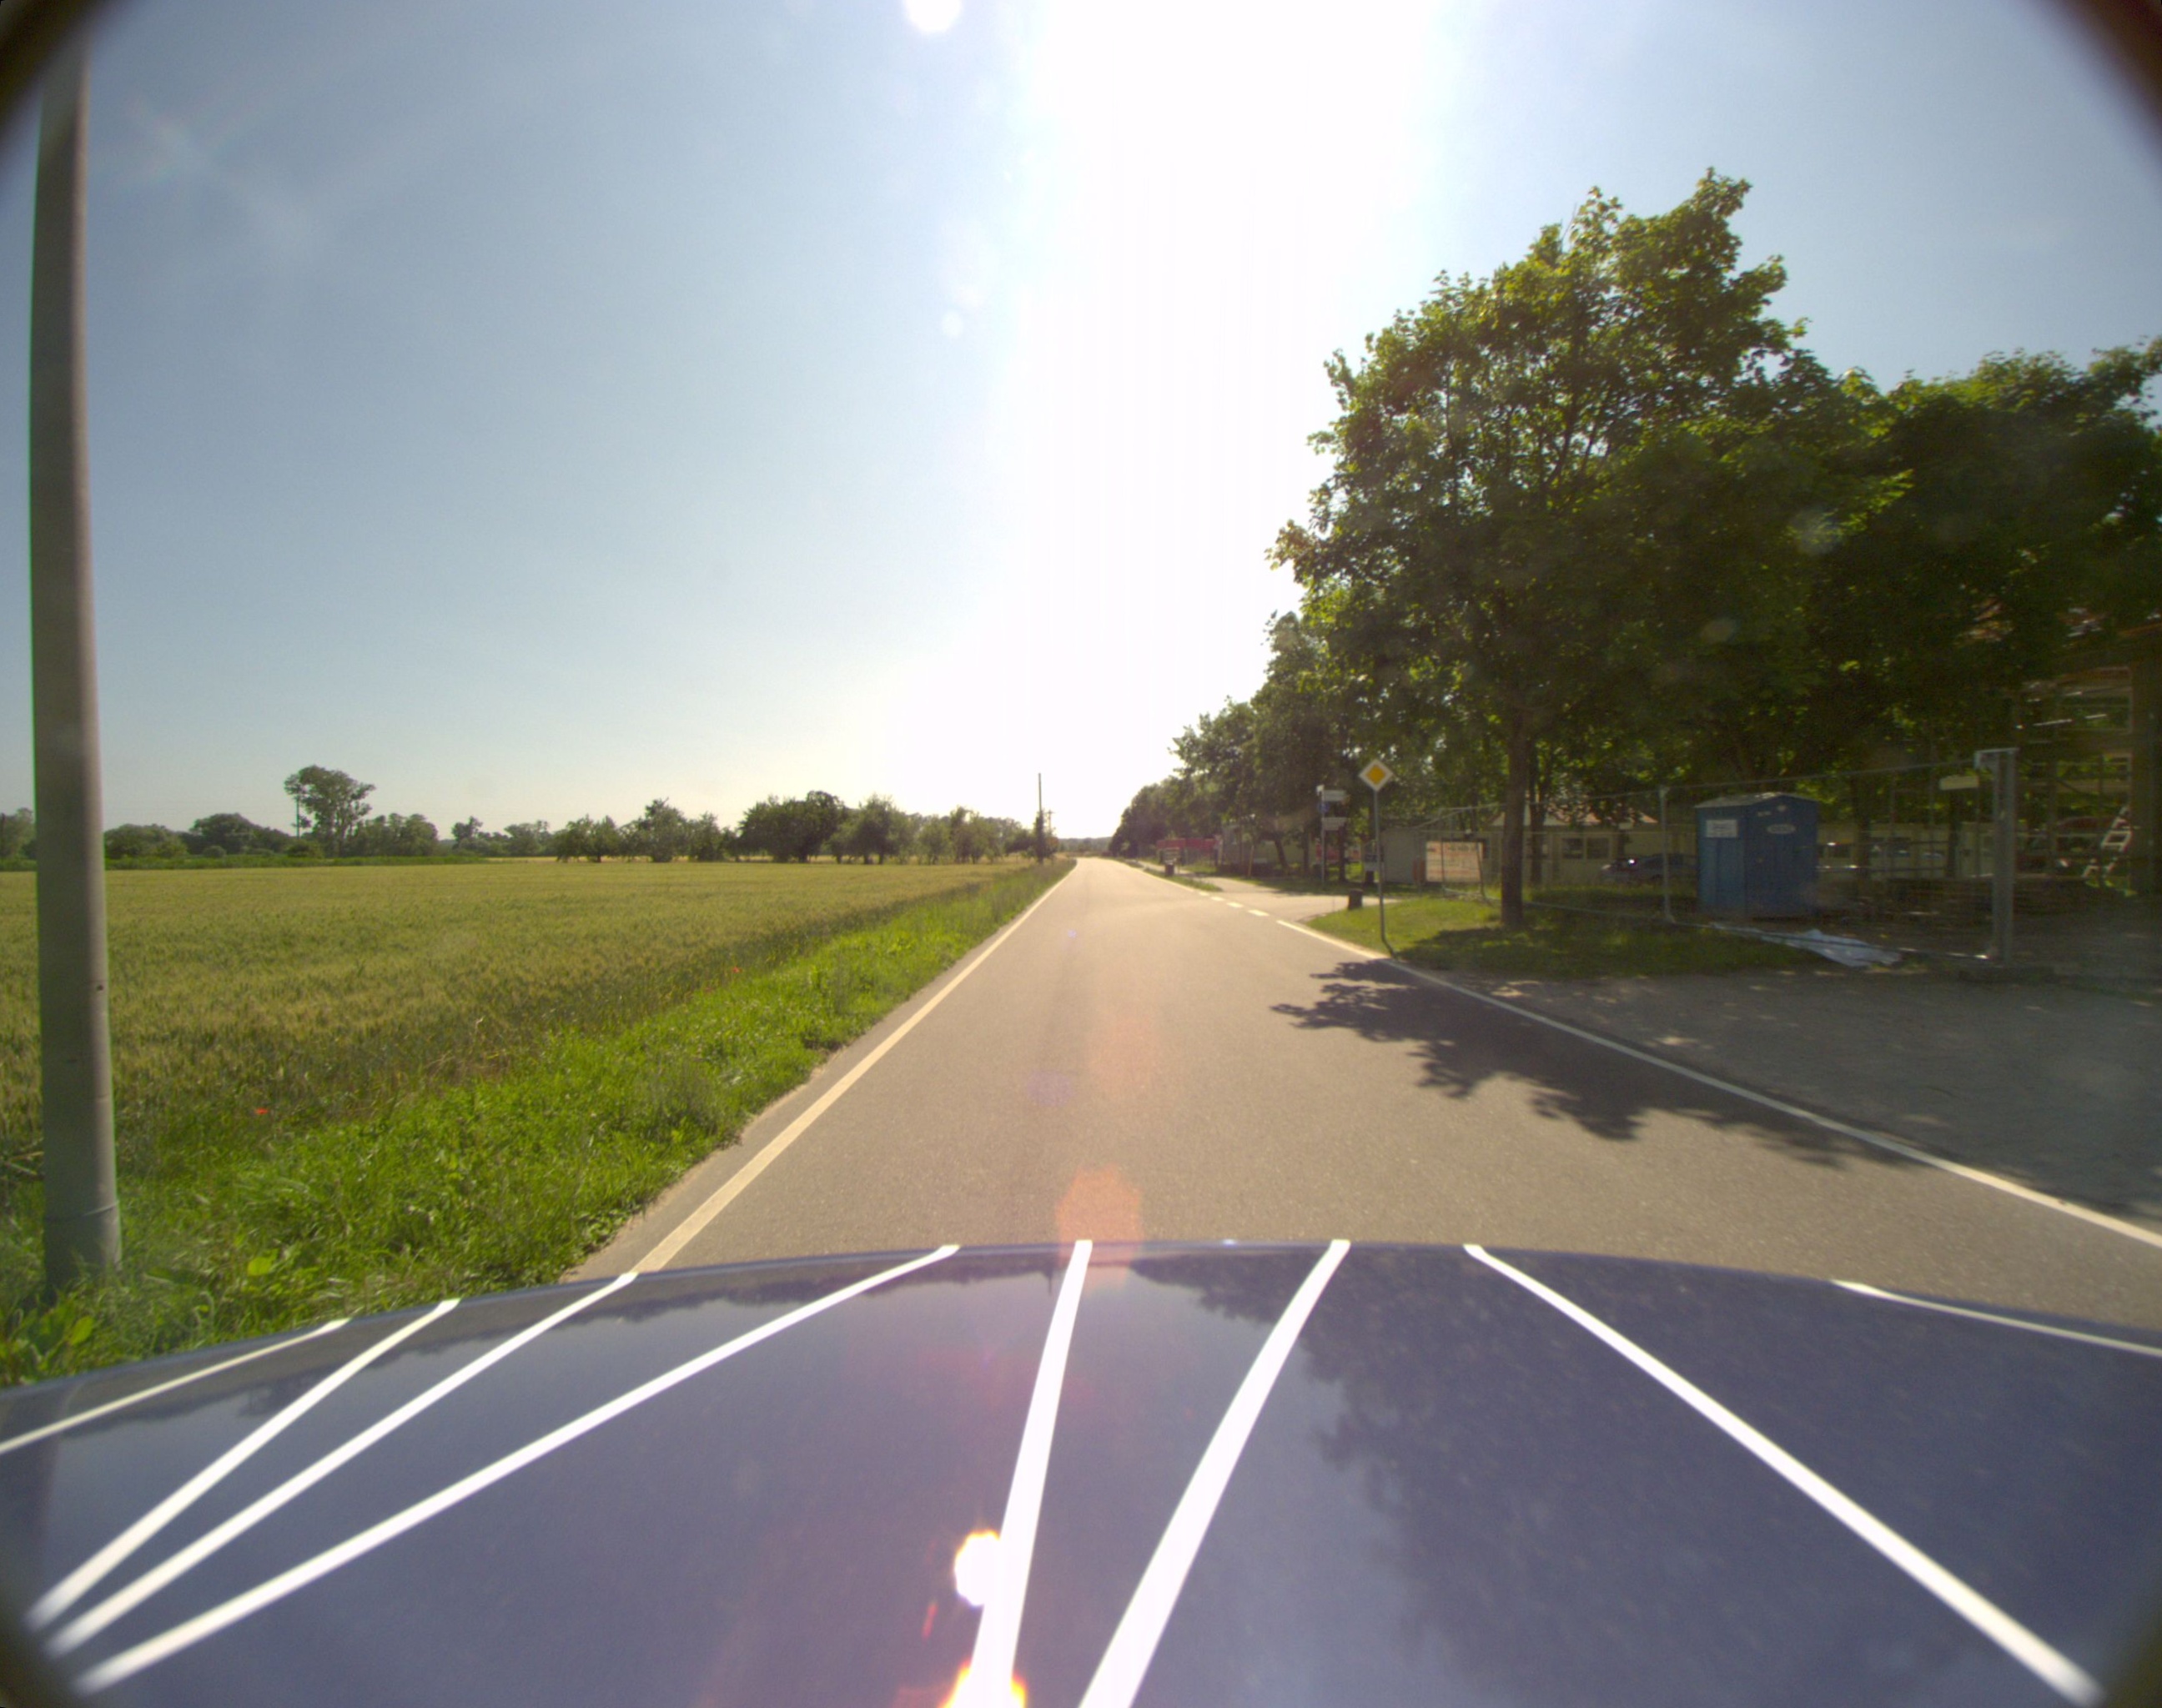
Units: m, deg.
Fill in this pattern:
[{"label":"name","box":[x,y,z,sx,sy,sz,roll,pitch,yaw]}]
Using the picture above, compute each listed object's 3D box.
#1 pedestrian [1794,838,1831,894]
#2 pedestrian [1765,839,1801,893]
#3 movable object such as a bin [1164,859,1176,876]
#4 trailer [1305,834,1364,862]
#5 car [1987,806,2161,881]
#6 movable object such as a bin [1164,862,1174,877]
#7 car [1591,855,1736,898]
[{"label":"pedestrian","box":[23.134,0.372,24.045,0.605,1.741,0.586,0,1,-8]},{"label":"pedestrian","box":[22.976,0.388,24.880,0.605,1.741,0.586,0,1,-8]},{"label":"movable object such as a bin","box":[5.427,0.823,46.334,0.700,1.018,0.748,0,1,9]},{"label":"trailer","box":[20.614,-0.470,61.888,4.239,2.264,1.826,0,1,-12]},{"label":"car","box":[36.800,-0.369,27.243,6.074,2.563,2.121,0,1,0]},{"label":"movable object such as a bin","box":[5.295,0.909,45.528,0.563,0.872,0.614,0,1,9]},{"label":"car","box":[20.038,0.741,26.204,3.811,1.391,1.758,0,1,-6]}]
